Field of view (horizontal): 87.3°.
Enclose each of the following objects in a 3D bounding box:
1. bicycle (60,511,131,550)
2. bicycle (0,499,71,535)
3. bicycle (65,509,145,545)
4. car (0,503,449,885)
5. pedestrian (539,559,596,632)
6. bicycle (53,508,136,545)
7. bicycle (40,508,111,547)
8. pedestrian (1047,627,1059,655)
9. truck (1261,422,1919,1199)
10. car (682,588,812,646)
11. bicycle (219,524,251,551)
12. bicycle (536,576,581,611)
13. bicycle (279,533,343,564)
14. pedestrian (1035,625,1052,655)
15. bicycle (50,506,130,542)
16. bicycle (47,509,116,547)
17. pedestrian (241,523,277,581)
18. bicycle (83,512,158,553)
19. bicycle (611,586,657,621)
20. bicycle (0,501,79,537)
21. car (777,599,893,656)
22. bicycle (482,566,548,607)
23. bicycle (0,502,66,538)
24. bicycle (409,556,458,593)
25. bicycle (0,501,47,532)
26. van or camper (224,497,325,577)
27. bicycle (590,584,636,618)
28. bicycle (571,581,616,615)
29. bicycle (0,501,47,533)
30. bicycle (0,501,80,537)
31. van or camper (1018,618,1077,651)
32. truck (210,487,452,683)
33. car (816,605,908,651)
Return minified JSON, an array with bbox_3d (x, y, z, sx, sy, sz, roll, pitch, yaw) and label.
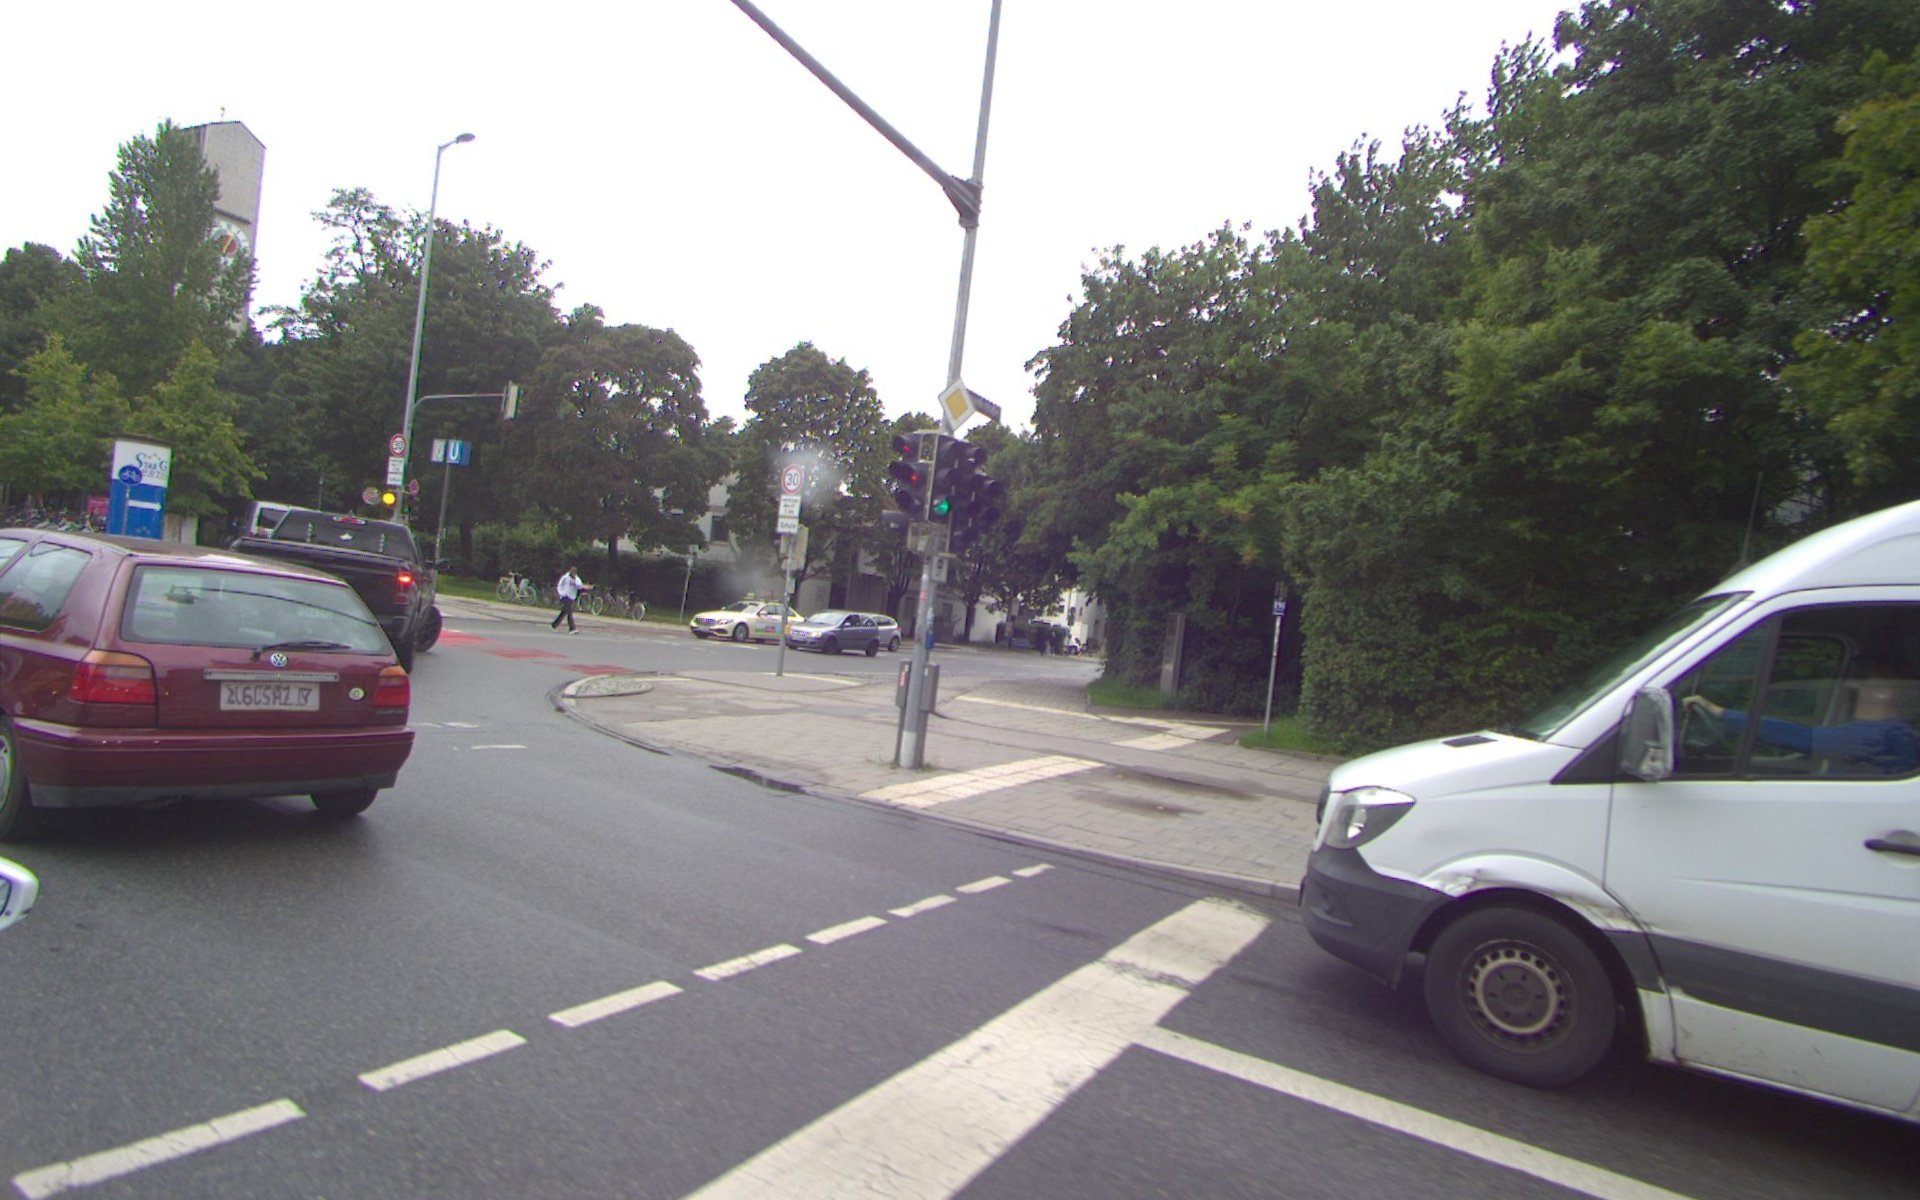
[{"bbox_3d":[-30.347,-2.431,35.341,0.557,1.157,1.811,6,1,20],"label":"bicycle"},{"bbox_3d":[-37.578,-3.356,40.667,0.520,1.173,2.339,7,2,31],"label":"bicycle"},{"bbox_3d":[-34.068,-2.894,40.124,0.575,1.173,2.339,7,2,31],"label":"bicycle"},{"bbox_3d":[-4.866,0.271,5.678,3.884,1.471,1.624,7,-1,31],"label":"car"},{"bbox_3d":[-10.083,-0.107,25.872,0.922,1.724,0.761,7,0,22],"label":"pedestrian"},{"bbox_3d":[-33.806,-2.868,39.326,0.575,1.173,2.339,7,2,31],"label":"bicycle"},{"bbox_3d":[-31.606,-2.582,35.970,0.559,1.157,1.803,7,1,40],"label":"bicycle"},{"bbox_3d":[6.306,2.772,68.178,0.596,1.849,0.707,7,0,3],"label":"pedestrian"},{"bbox_3d":[5.031,0.944,3.549,7.105,2.635,1.997,7,-1,31],"label":"truck"},{"bbox_3d":[-7.159,0.623,34.214,1.855,1.515,4.309,7,-1,28],"label":"car"},{"bbox_3d":[-36.999,-3.191,51.320,2.308,1.173,0.527,7,3,35],"label":"bicycle"},{"bbox_3d":[-15.442,-0.262,38.671,2.084,1.108,0.607,6,0,40],"label":"bicycle"},{"bbox_3d":[-28.879,-2.274,44.808,0.520,1.173,2.339,7,2,31],"label":"bicycle"},{"bbox_3d":[5.444,2.609,65.585,0.599,1.849,0.704,7,0,42],"label":"pedestrian"},{"bbox_3d":[-35.037,-3.059,40.543,0.575,1.173,2.339,7,2,31],"label":"bicycle"},{"bbox_3d":[-32.231,-2.643,36.932,0.559,1.157,1.805,7,1,37],"label":"bicycle"},{"bbox_3d":[-20.202,-1.393,28.989,0.687,1.557,0.729,6,0,-39],"label":"pedestrian"},{"bbox_3d":[-29.593,-2.371,35.490,0.557,1.227,1.944,6,1,20],"label":"bicycle"},{"bbox_3d":[-12.785,0.129,39.432,2.084,1.108,0.607,6,0,40],"label":"bicycle"},{"bbox_3d":[-37.065,-3.251,40.485,0.520,1.173,2.339,7,2,31],"label":"bicycle"},{"bbox_3d":[-4.034,0.943,33.061,1.600,1.471,3.943,7,-1,30],"label":"car"},{"bbox_3d":[-16.884,-0.512,38.187,2.074,1.266,0.703,7,0,5],"label":"bicycle"},{"bbox_3d":[-35.632,-3.054,38.268,0.575,1.173,2.339,7,2,31],"label":"bicycle"},{"bbox_3d":[-20.342,-0.991,38.848,2.095,1.167,0.697,7,0,34],"label":"bicycle"},{"bbox_3d":[-40.313,-3.579,42.611,0.520,1.173,2.339,7,2,31],"label":"bicycle"},{"bbox_3d":[-24.083,-2.227,35.225,2.133,2.324,6.129,7,-1,-40],"label":"van or camper"},{"bbox_3d":[-13.528,0.017,39.193,2.084,1.108,0.607,6,0,40],"label":"bicycle"},{"bbox_3d":[-14.093,-0.080,38.646,2.085,1.108,0.607,6,0,41],"label":"bicycle"},{"bbox_3d":[-39.678,-3.515,41.933,0.519,1.173,2.343,7,2,23],"label":"bicycle"},{"bbox_3d":[-36.680,-3.222,40.076,0.520,1.173,2.339,7,2,31],"label":"bicycle"},{"bbox_3d":[6.845,2.688,78.721,3.933,2.038,1.997,7,0,30],"label":"van or camper"},{"bbox_3d":[-8.575,-0.239,14.305,2.080,2.038,5.776,7,-1,-25],"label":"truck"},{"bbox_3d":[-3.854,1.147,40.333,1.599,1.471,3.945,7,-1,29],"label":"car"}]
